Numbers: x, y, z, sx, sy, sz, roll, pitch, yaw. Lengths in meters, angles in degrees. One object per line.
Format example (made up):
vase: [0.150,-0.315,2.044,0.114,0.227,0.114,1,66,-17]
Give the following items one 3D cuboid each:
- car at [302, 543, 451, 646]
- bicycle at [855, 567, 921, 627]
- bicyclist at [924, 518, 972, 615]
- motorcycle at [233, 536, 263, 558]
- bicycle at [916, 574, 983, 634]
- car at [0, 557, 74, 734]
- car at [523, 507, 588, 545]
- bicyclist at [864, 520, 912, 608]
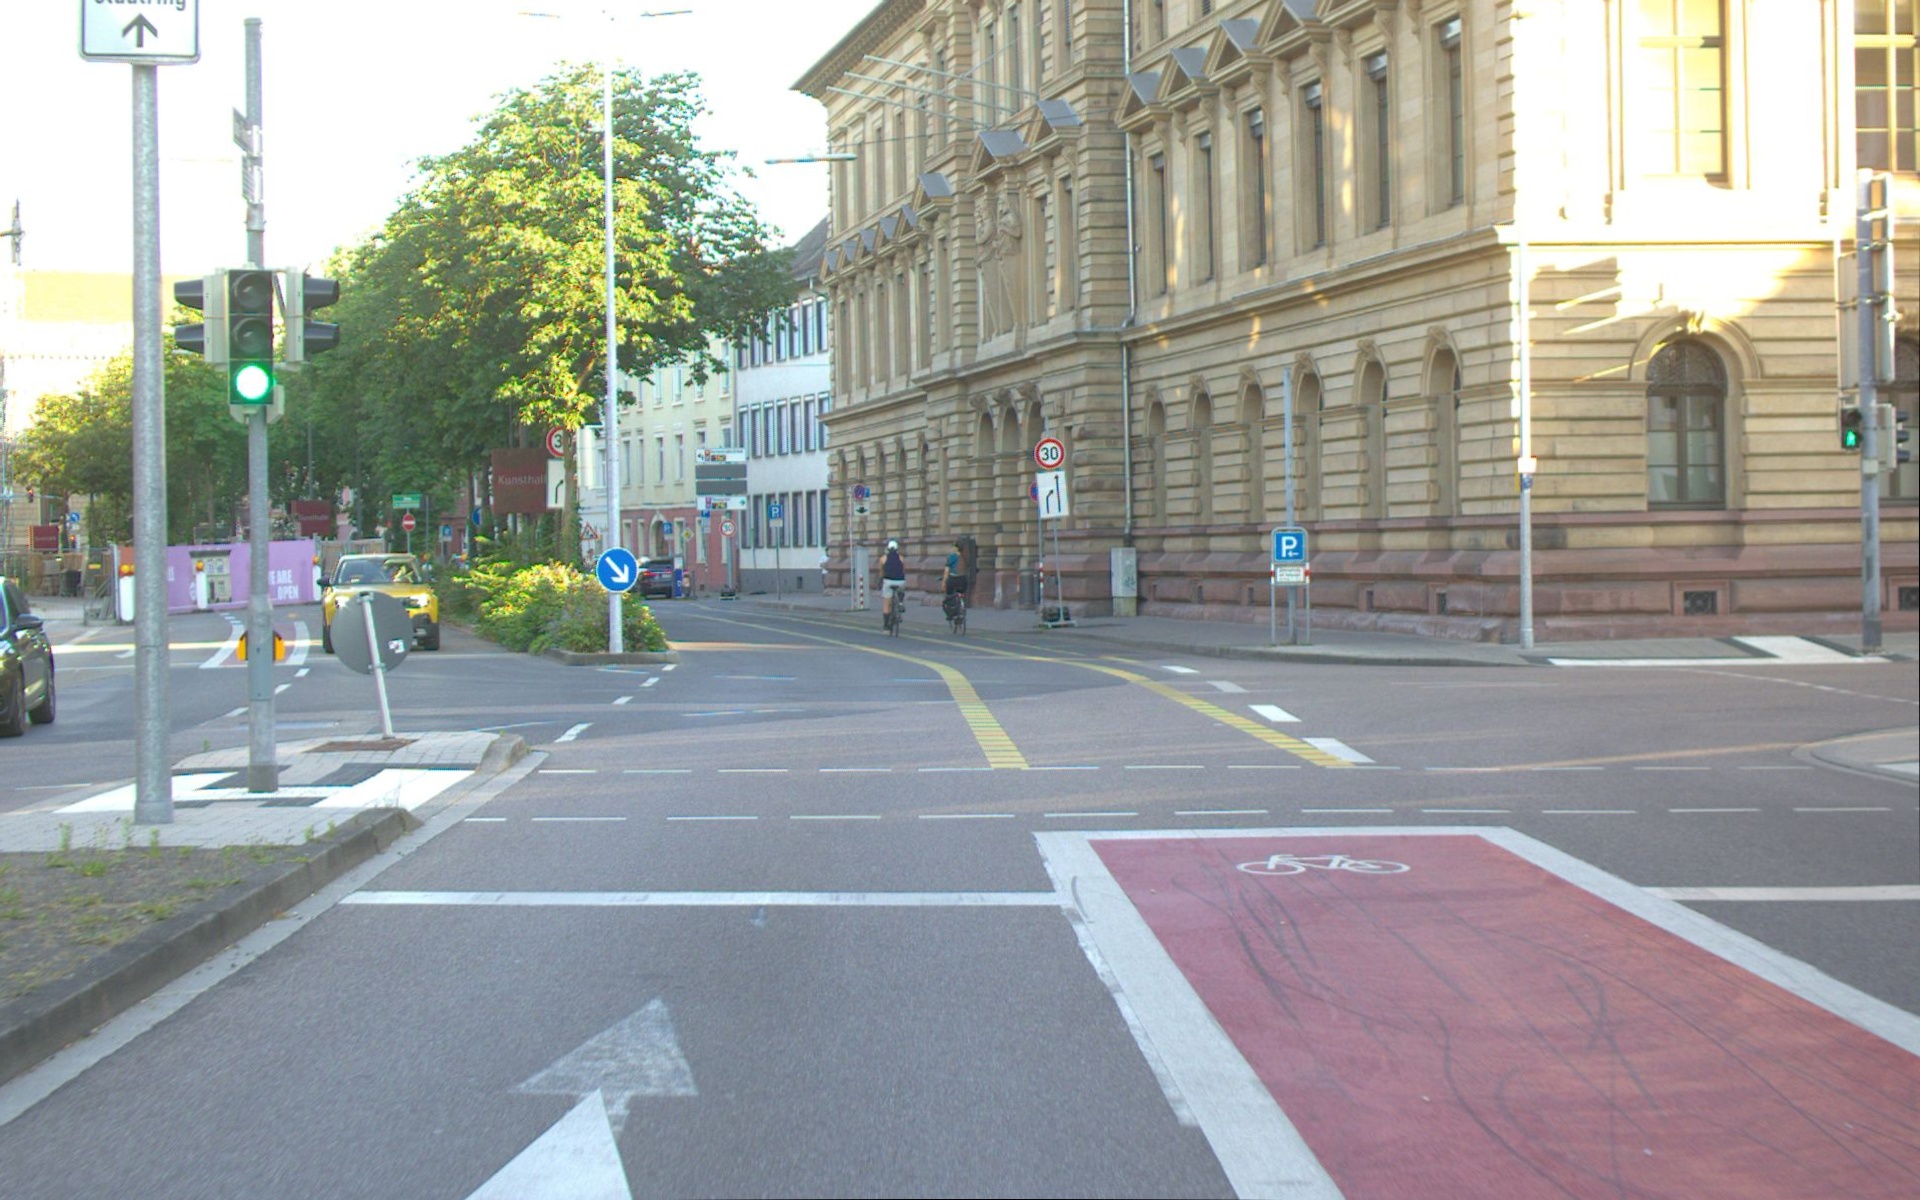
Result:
car: [-9.284,-0.119,54.969,1.845,1.542,4.119,-1,1,-3]
bicycle: [-1.303,-0.062,62.140,0.669,1.067,1.902,1,0,-17]
bicyclist: [-0.226,-0.616,62.863,0.649,1.754,0.864,1,1,-15]
motorcycle: [-39.686,-2.945,191.514,1.041,1.244,2.398,-1,1,-27]
bicycle: [-0.208,0.065,62.752,0.652,1.067,2.259,1,0,-15]
car: [-9.360,0.375,31.515,1.823,1.503,4.428,-1,1,-7]
car: [-17.467,-3.190,148.364,1.812,1.554,3.866,-1,1,-22]
bicyclist: [-1.306,-0.643,62.146,0.668,1.560,0.699,1,0,-17]
